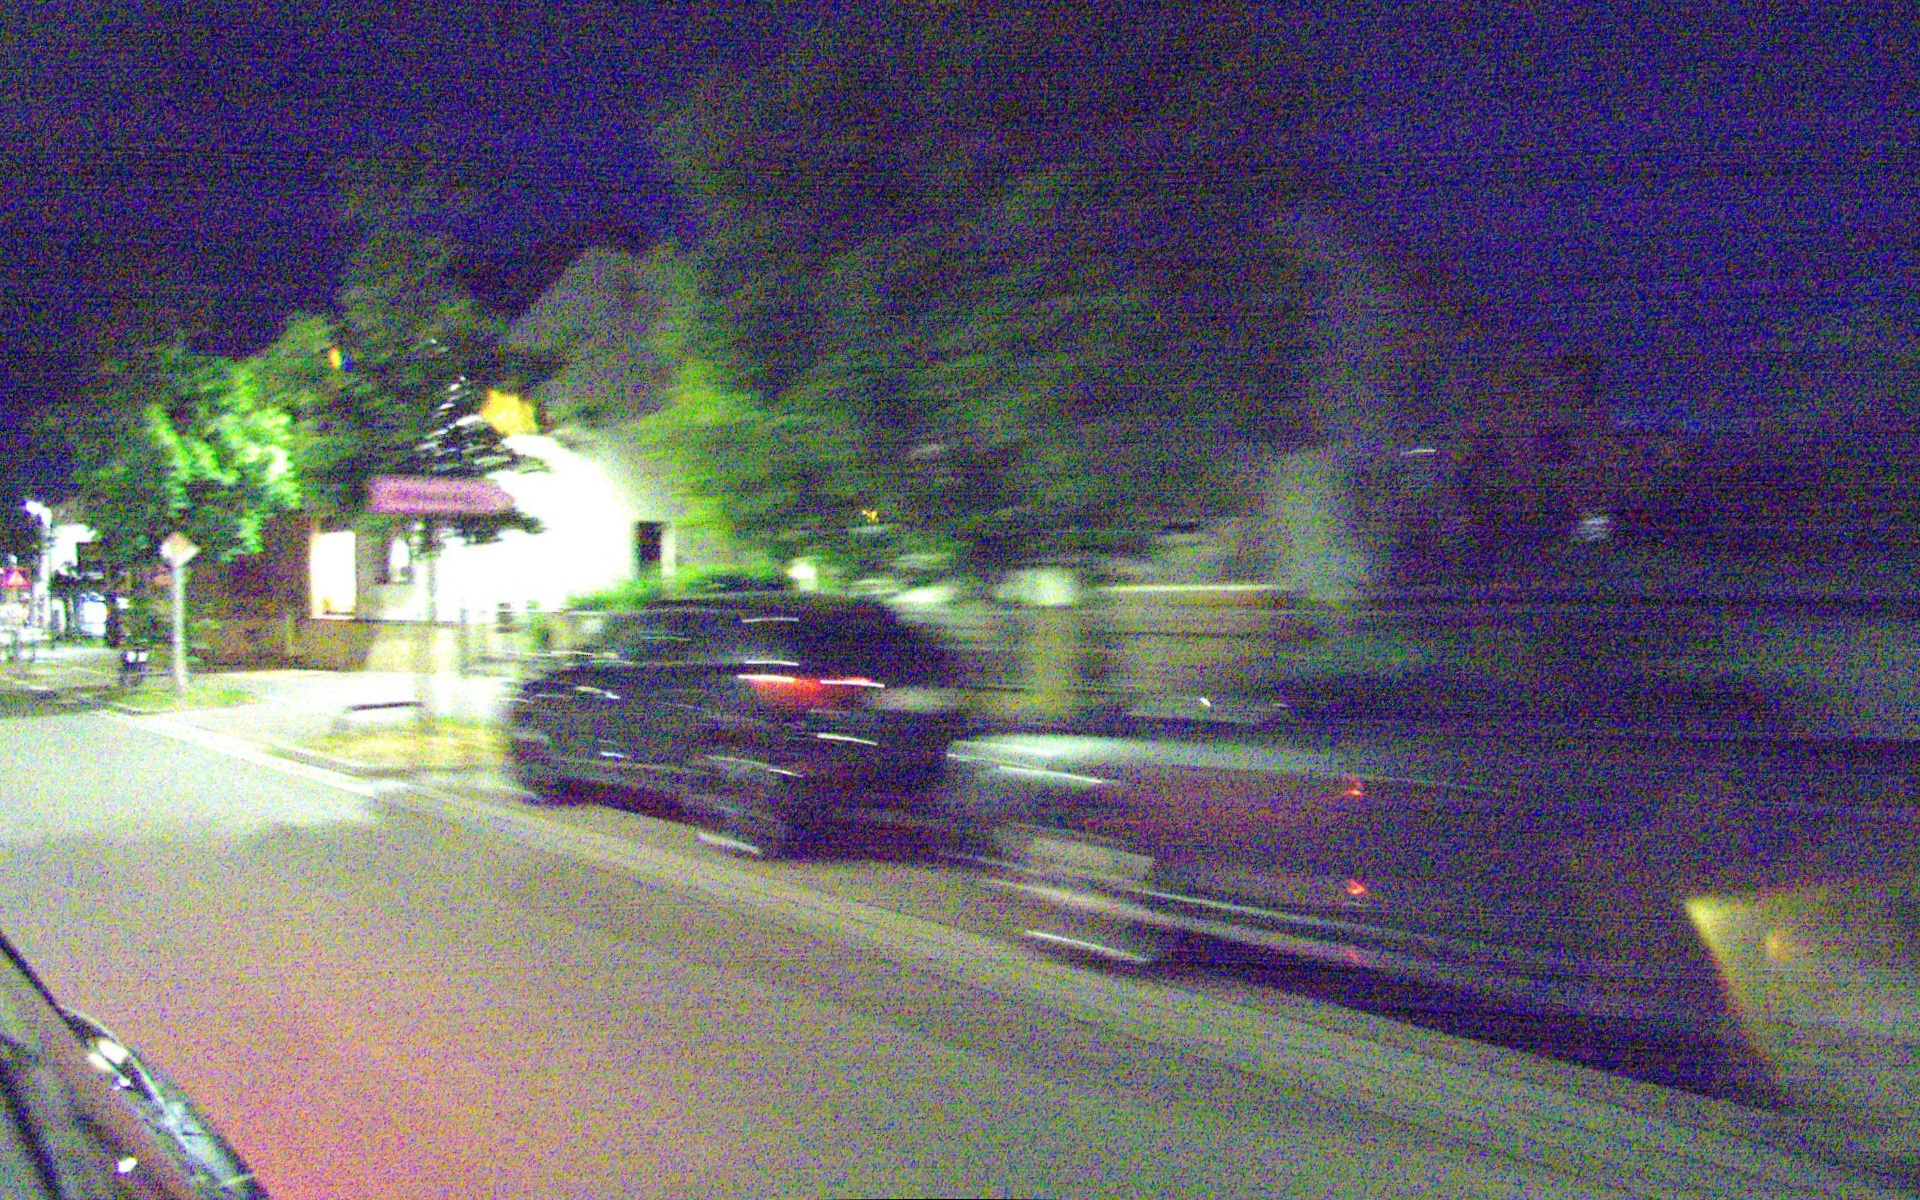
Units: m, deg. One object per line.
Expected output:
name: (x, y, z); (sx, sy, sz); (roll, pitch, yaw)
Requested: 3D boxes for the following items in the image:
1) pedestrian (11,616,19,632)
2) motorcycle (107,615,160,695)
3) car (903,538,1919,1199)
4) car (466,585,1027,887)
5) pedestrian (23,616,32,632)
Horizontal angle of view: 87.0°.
pedestrian: (-95.981, 2.480, 102.796); (0.665, 1.600, 0.523); (-1, -1, 37)
motorcycle: (-16.098, 1.031, 19.697); (0.737, 1.463, 2.199); (0, -1, -41)
car: (1.949, 0.618, 3.717); (4.276, 1.530, 1.748); (-1, 1, 41)
car: (-1.731, 0.717, 7.161); (4.277, 1.522, 1.670); (-1, -1, 42)
pedestrian: (-95.260, 2.419, 103.355); (0.664, 1.600, 0.523); (-1, -1, 34)
